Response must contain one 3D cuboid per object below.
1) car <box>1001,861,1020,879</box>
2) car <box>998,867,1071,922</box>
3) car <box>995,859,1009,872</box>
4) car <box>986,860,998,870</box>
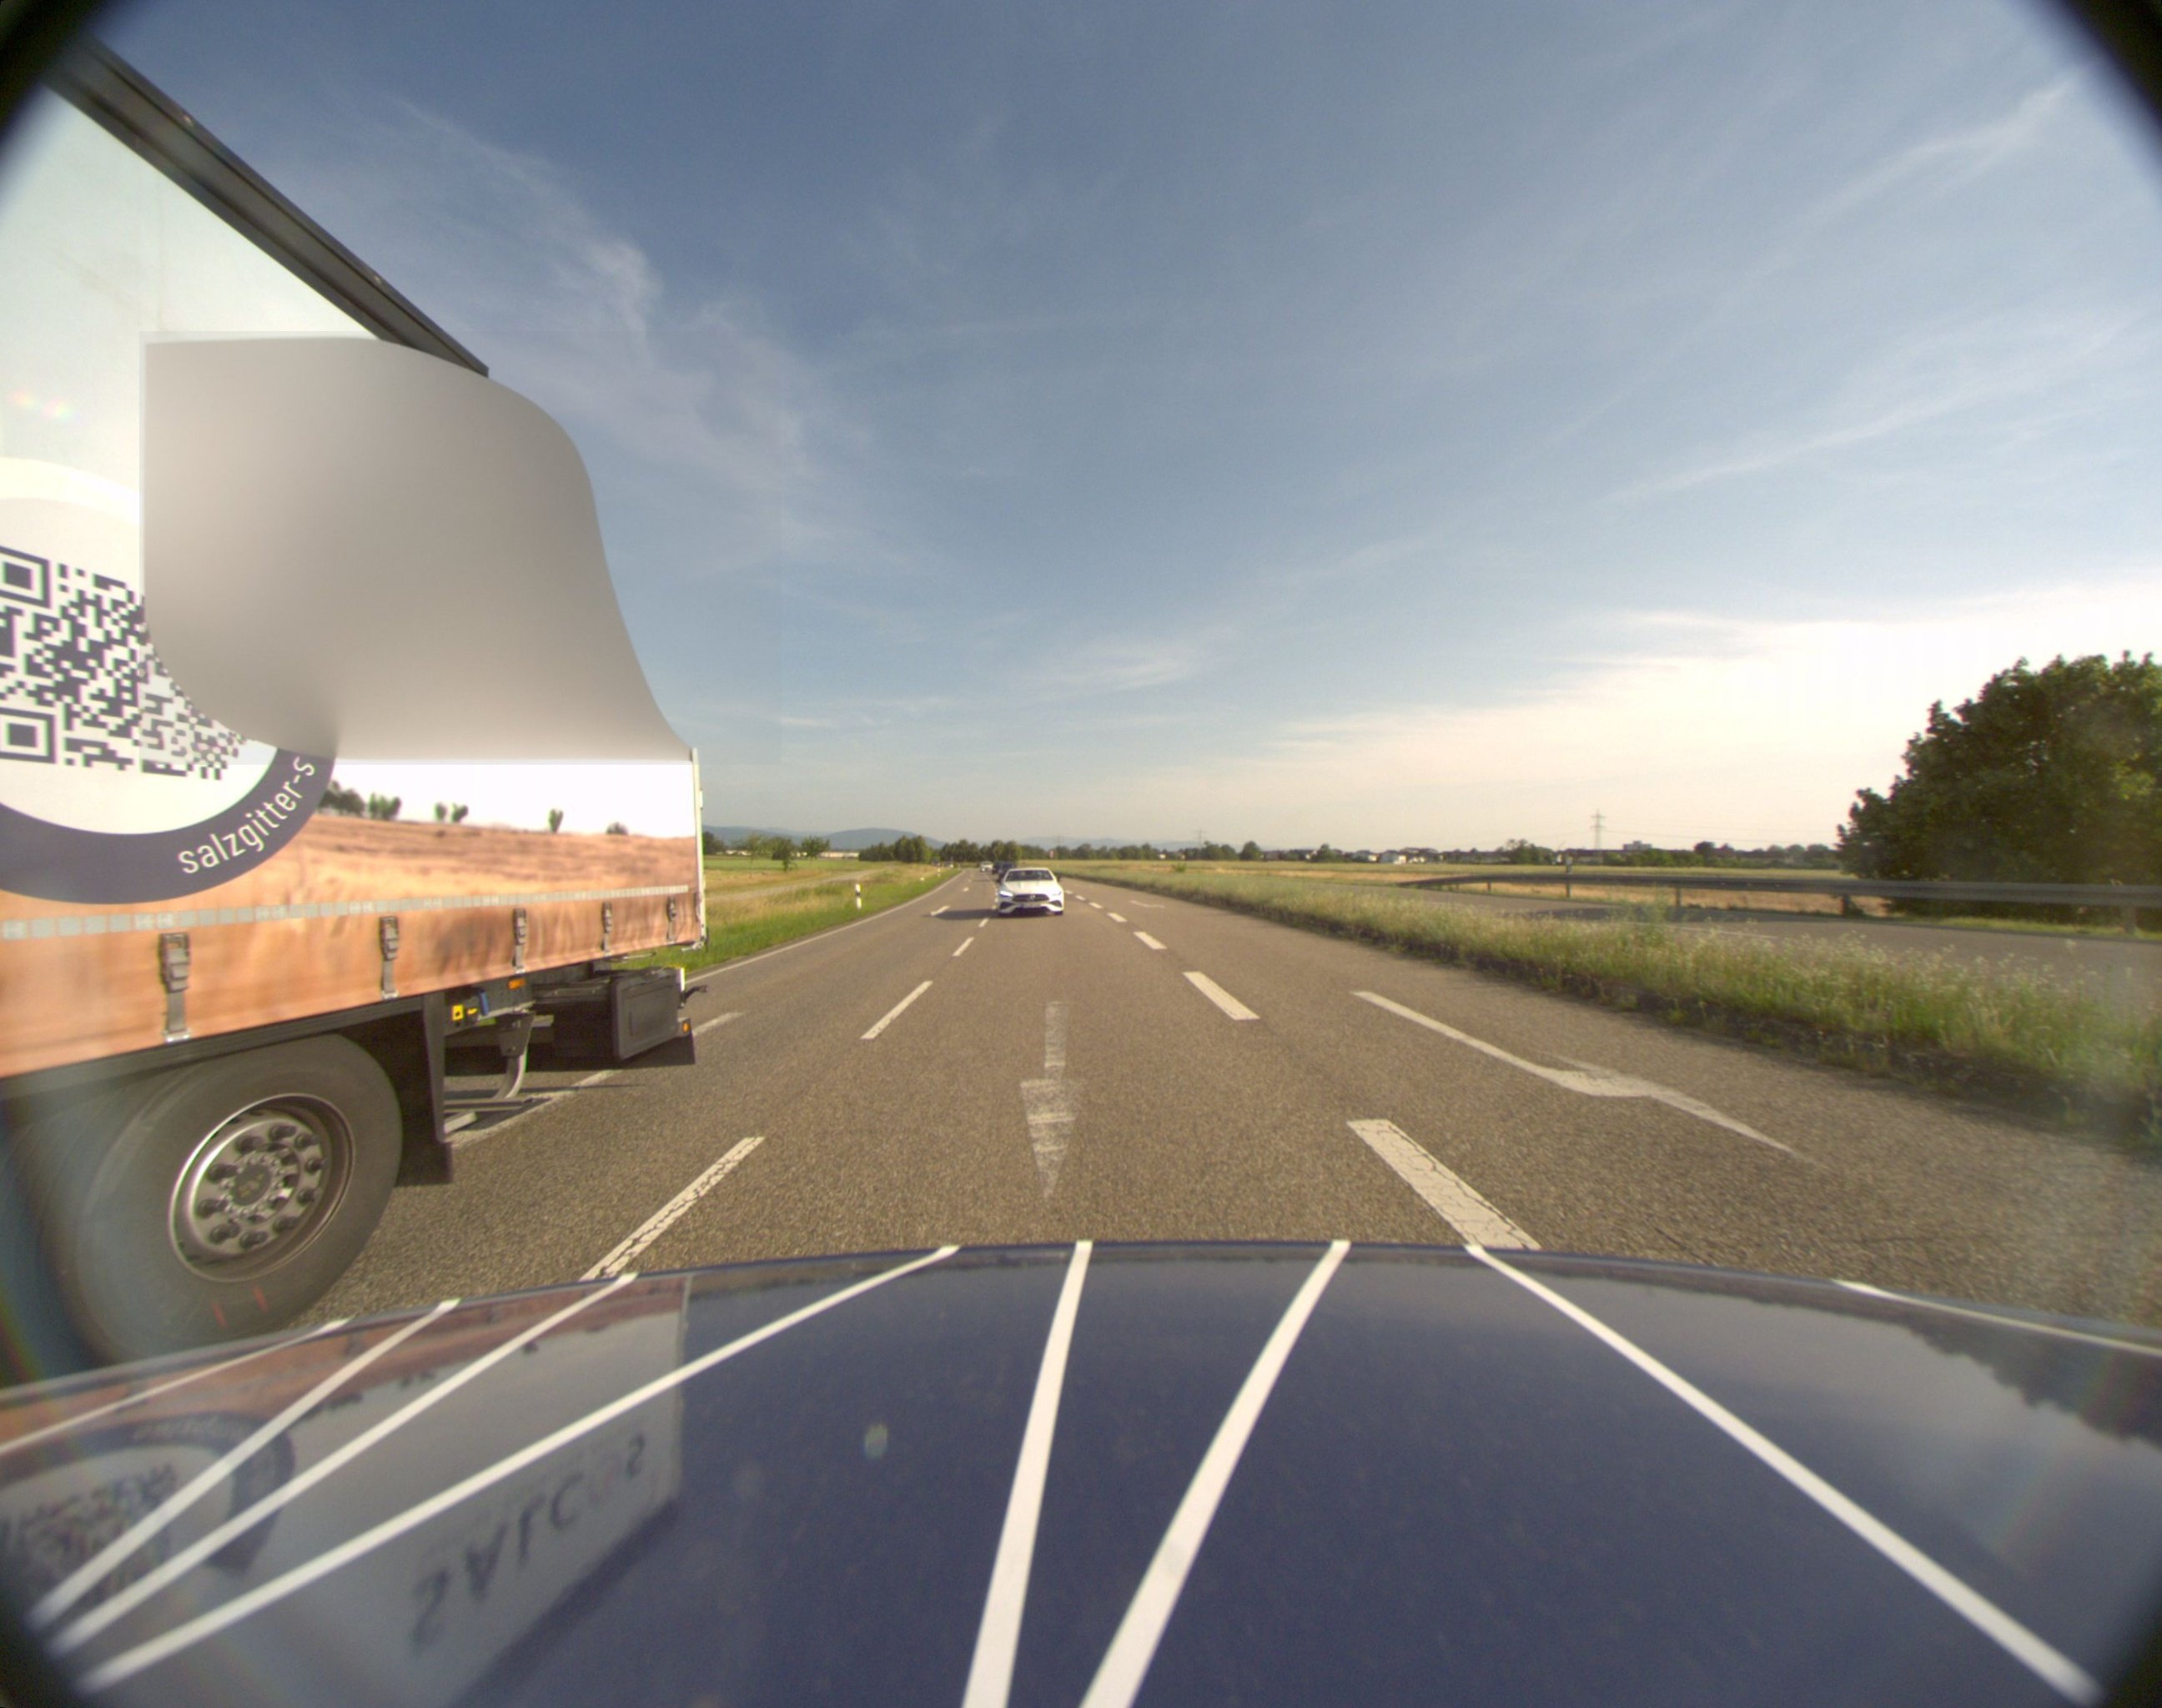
[{"bbox_3d":[-5.942,1.332,64.107,1.585,1.496,3.659,-1,0,-5],"label":"car"},{"bbox_3d":[-1.435,1.128,22.758,1.942,1.389,3.917,-2,0,-5],"label":"car"},{"bbox_3d":[-9.568,1.399,91.979,1.558,1.550,3.047,-1,0,-5],"label":"car"},{"bbox_3d":[-13.371,1.663,114.115,1.558,1.391,4.034,-1,0,-5],"label":"car"}]
